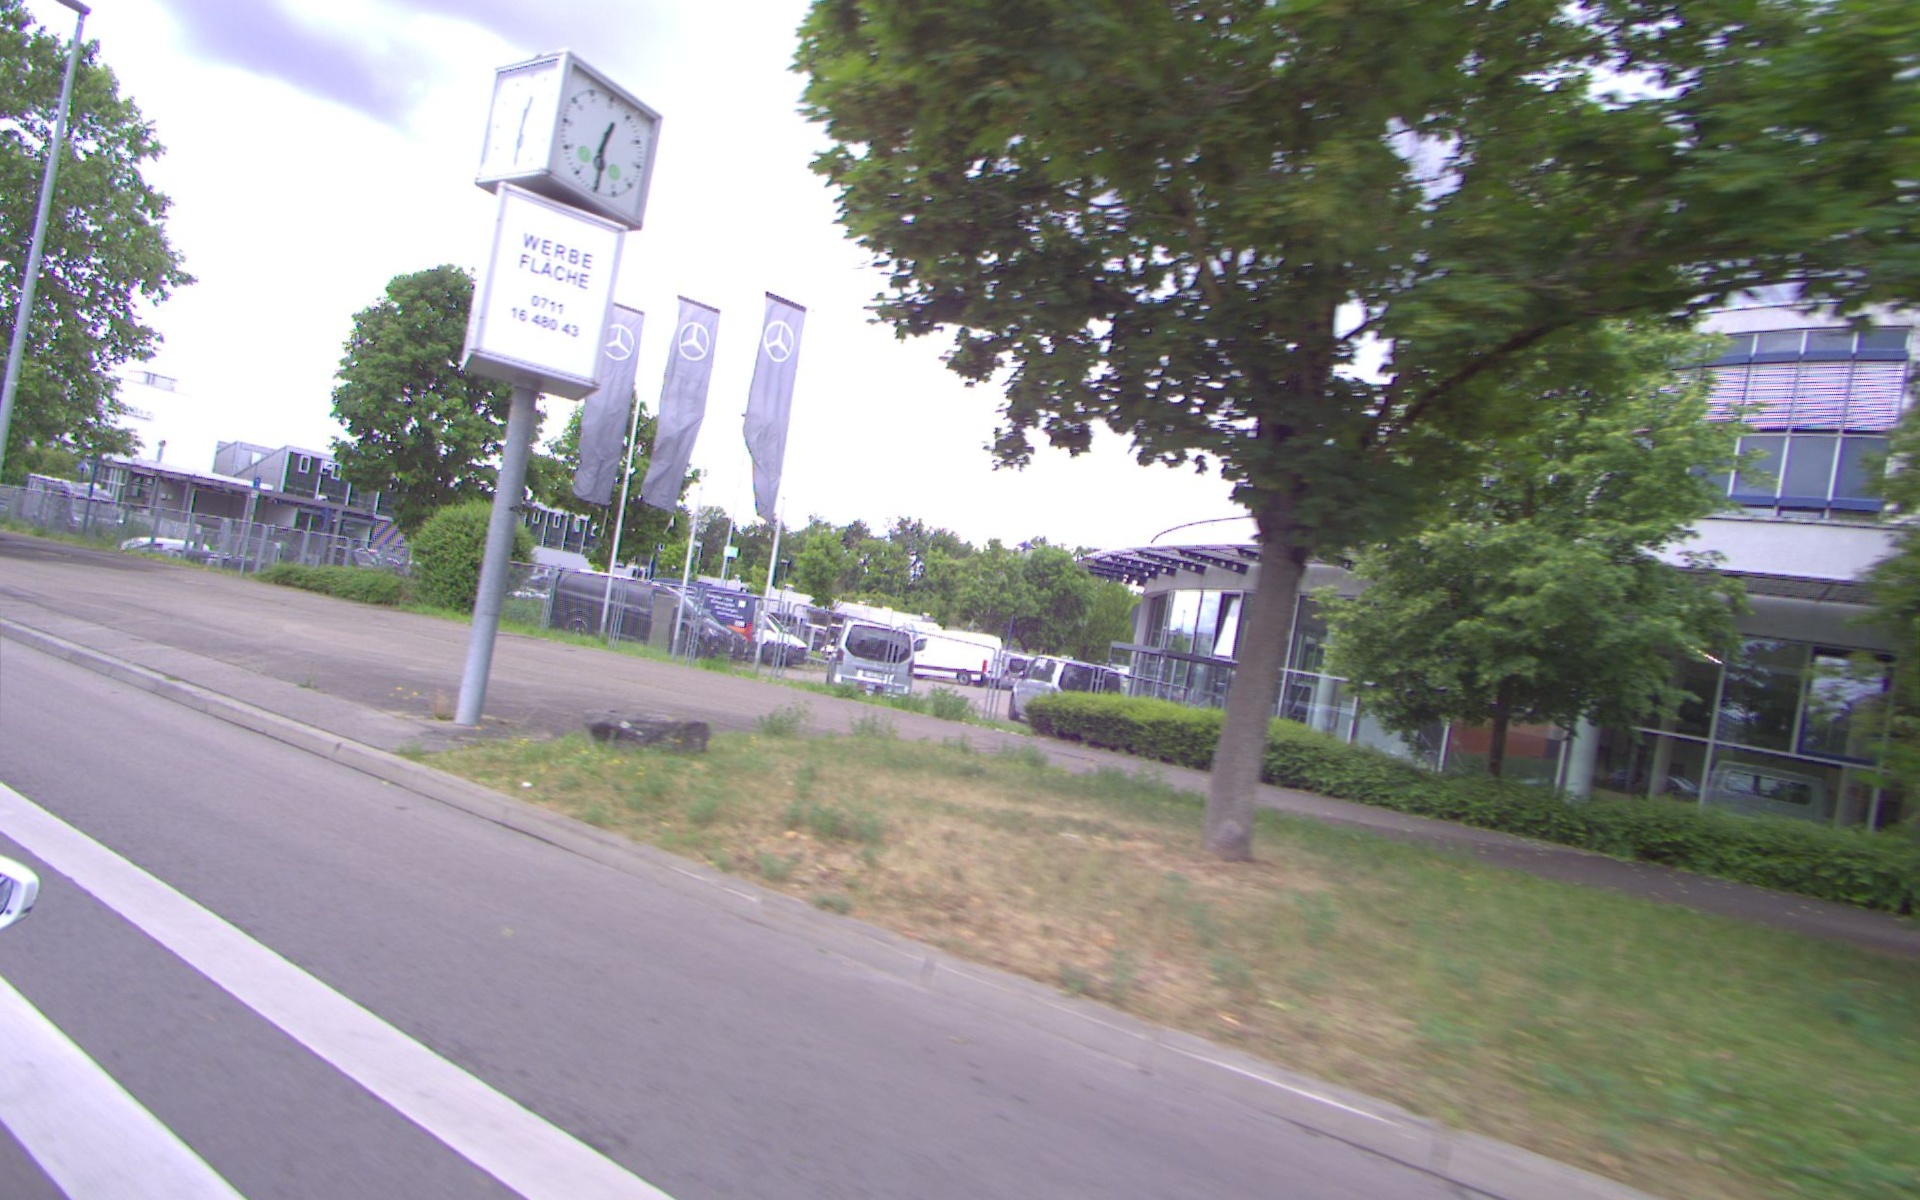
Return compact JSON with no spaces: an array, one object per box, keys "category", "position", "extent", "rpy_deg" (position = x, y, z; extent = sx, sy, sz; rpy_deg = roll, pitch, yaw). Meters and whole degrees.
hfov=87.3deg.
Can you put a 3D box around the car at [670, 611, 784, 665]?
[{"category":"car","position":[-8.207,1.349,35.643],"extent":[3.531,1.365,1.627],"rpy_deg":[9,-2,-1]}]

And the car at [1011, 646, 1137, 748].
[{"category":"car","position":[2.707,2.305,24.936],"extent":[1.966,1.978,3.997],"rpy_deg":[9,-2,-7]}]

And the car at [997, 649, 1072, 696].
[{"category":"car","position":[4.322,4.201,57.863],"extent":[1.974,2.035,3.984],"rpy_deg":[8,-4,44]}]

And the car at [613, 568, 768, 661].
[{"category":"car","position":[-8.857,0.515,33.360],"extent":[4.347,2.352,2.001],"rpy_deg":[9,-1,-1]}]

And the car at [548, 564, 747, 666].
[{"category":"car","position":[-8.634,0.435,28.120],"extent":[4.711,2.048,2.001],"rpy_deg":[9,-2,-2]}]

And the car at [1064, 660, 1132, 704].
[{"category":"car","position":[8.519,5.080,61.913],"extent":[1.974,2.035,3.984],"rpy_deg":[8,-4,44]}]

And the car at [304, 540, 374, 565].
[{"category":"car","position":[-41.600,-3.165,67.447],"extent":[1.389,0.989,3.649],"rpy_deg":[7,-3,31]}]

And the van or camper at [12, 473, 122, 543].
[{"category":"van or camper","position":[-46.731,-4.838,52.605],"extent":[6.801,2.902,1.970],"rpy_deg":[8,-1,30]}]

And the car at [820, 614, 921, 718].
[{"category":"car","position":[-2.234,1.514,24.326],"extent":[1.966,2.048,3.997],"rpy_deg":[9,-2,-7]}]

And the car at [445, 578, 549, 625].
[{"category":"car","position":[-21.153,0.121,46.135],"extent":[1.962,1.569,4.005],"rpy_deg":[8,-2,18]}]

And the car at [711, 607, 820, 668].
[{"category":"car","position":[-7.420,1.432,38.511],"extent":[3.528,1.776,1.629],"rpy_deg":[8,-1,15]}]

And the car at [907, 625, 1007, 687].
[{"category":"car","position":[-0.161,2.829,51.094],"extent":[4.351,2.340,2.010],"rpy_deg":[4,-13,28]}]

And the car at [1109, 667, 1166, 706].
[{"category":"car","position":[11.951,5.811,67.421],"extent":[1.969,2.035,3.994],"rpy_deg":[8,-3,37]}]

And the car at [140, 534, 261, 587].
[{"category":"car","position":[-33.139,-1.684,44.008],"extent":[1.662,1.636,3.746],"rpy_deg":[8,-3,27]}]

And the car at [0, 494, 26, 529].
[{"category":"car","position":[-48.902,-4.659,50.557],"extent":[4.272,1.524,1.716],"rpy_deg":[7,-4,33]}]
